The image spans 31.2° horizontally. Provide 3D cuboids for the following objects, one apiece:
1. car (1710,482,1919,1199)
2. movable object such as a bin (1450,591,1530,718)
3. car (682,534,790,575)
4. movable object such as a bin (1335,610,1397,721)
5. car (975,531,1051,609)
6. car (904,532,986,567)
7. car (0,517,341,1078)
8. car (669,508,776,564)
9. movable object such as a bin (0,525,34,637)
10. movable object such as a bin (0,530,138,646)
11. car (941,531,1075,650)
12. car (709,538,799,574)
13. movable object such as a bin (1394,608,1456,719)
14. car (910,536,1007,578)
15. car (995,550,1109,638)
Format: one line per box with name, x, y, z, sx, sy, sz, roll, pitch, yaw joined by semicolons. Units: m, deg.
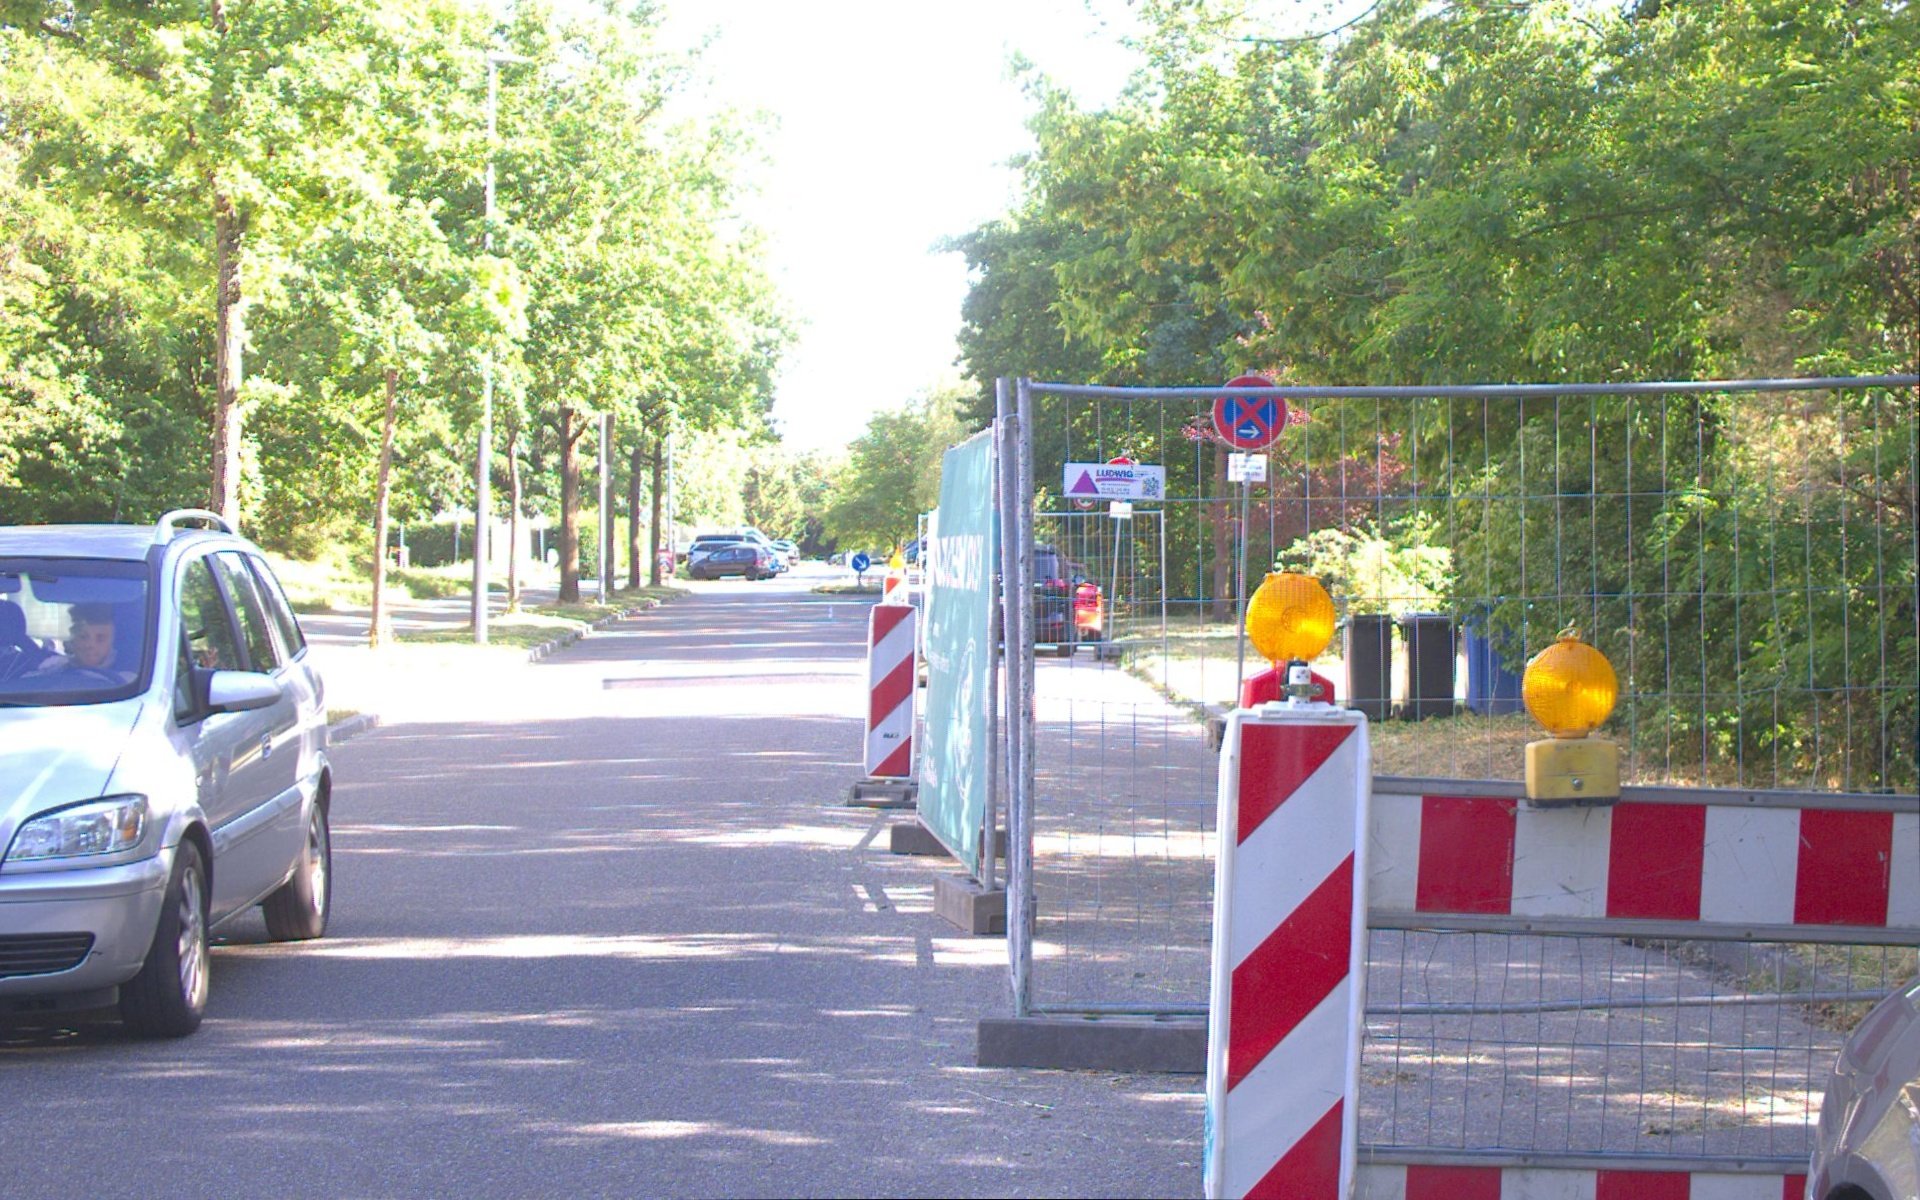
car;2.020;0.710;2.990;1.678;1.616;4.138;1;1;-2
movable object such as a bin;4.252;0.430;27.591;0.519;0.996;0.608;-1;0;-1
car;-9.613;-1.946;147.727;4.319;1.571;2.046;2;1;6
movable object such as a bin;3.245;0.519;27.492;0.413;0.867;0.484;-1;0;-1
car;1.254;-0.742;82.781;1.623;1.767;3.669;2;1;-1
car;-0.744;-2.469;168.766;3.839;1.571;1.688;2;1;6
car;-3.256;0.553;11.812;1.659;1.590;4.009;-2;1;-3
car;-11.953;-3.224;172.933;5.199;2.612;2.294;2;1;-6
movable object such as a bin;-12.783;-0.253;44.564;1.141;1.430;1.273;-1;1;-35
movable object such as a bin;-11.123;-0.161;42.904;1.270;1.430;1.181;0;1;15
car;0.763;-0.168;51.534;1.810;1.645;4.420;2;1;3
car;-9.811;-2.109;164.031;4.107;1.571;1.958;2;1;1
movable object such as a bin;3.734;0.506;27.625;0.413;0.867;0.484;-1;0;-1
car;-0.037;-1.788;143.343;3.839;1.571;1.688;2;1;6
car;1.522;-0.124;58.217;1.661;1.371;4.155;2;1;-2
